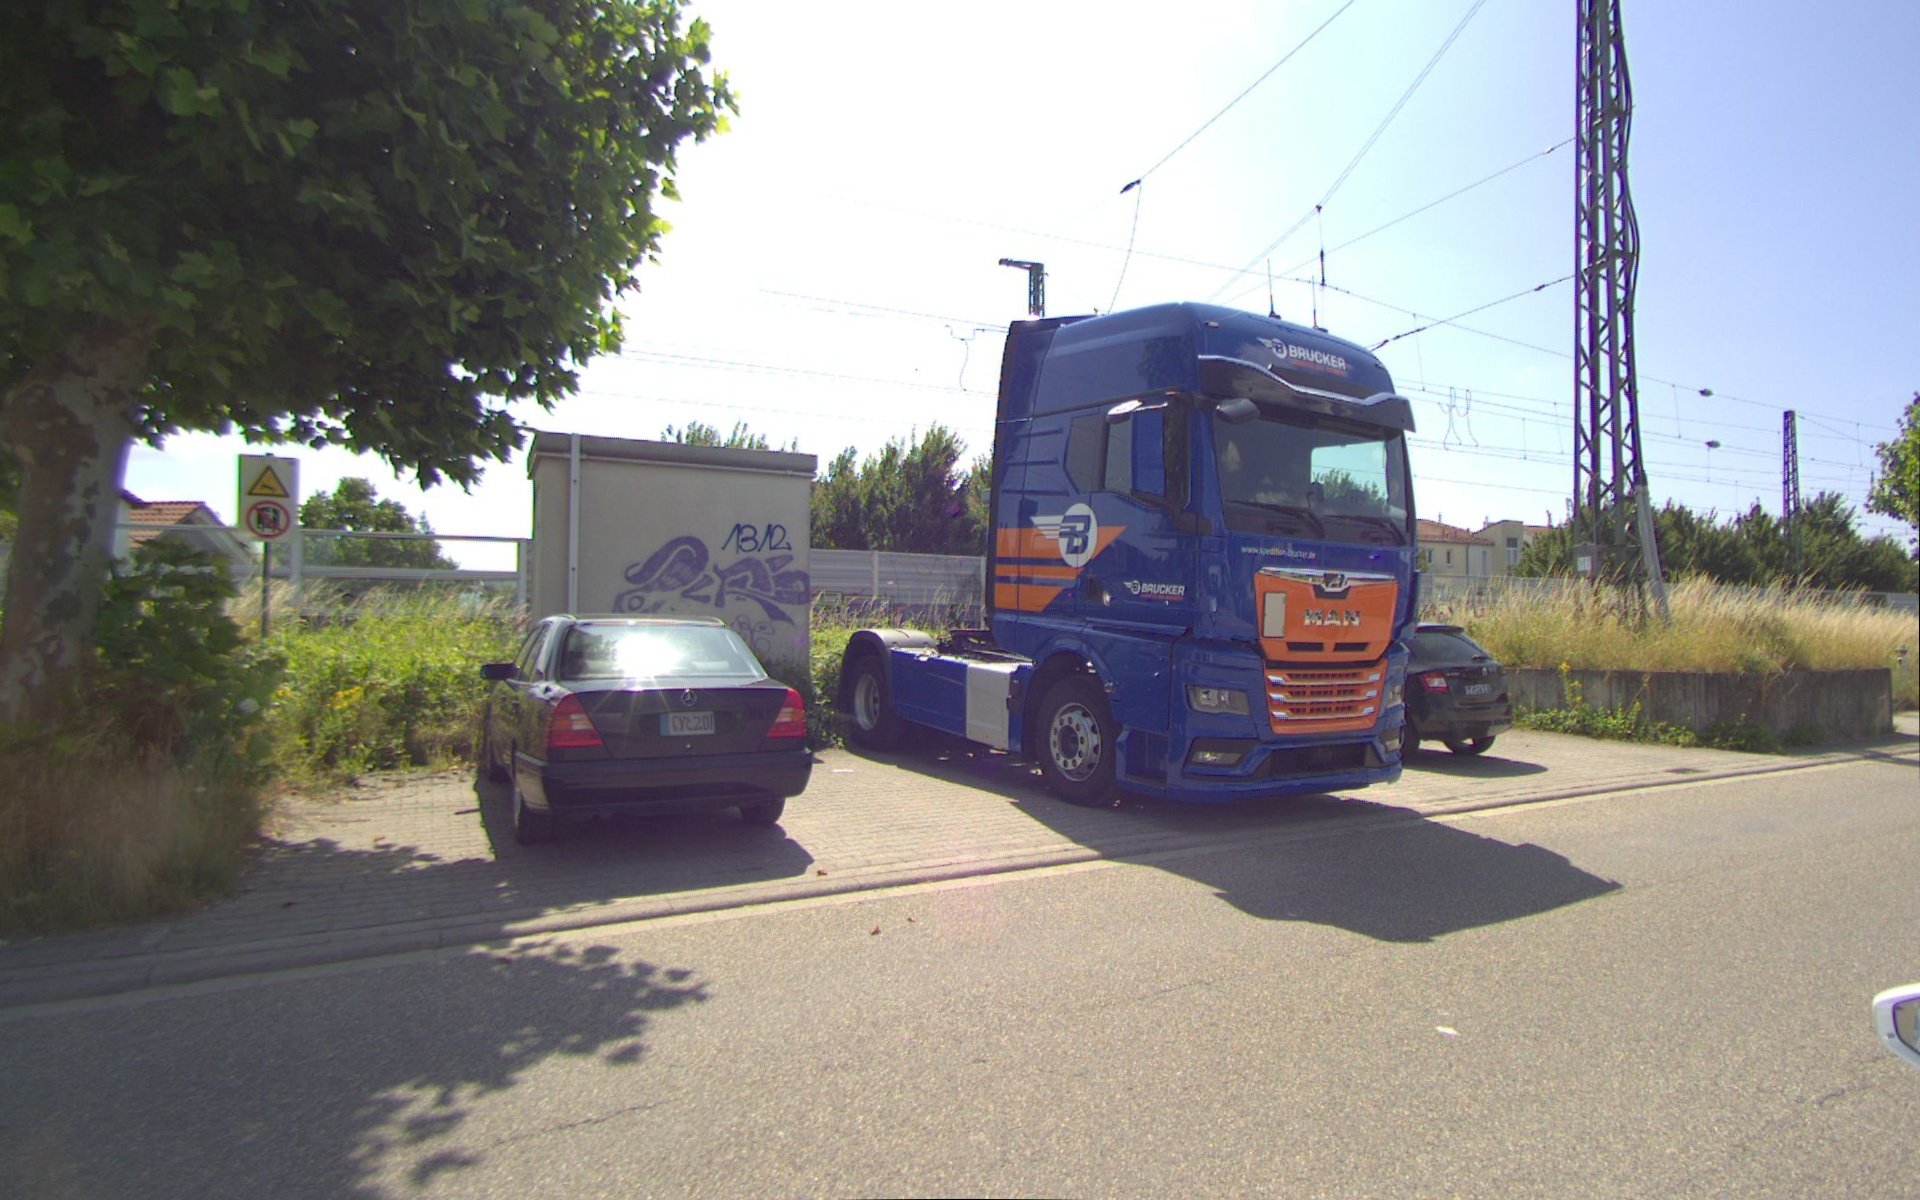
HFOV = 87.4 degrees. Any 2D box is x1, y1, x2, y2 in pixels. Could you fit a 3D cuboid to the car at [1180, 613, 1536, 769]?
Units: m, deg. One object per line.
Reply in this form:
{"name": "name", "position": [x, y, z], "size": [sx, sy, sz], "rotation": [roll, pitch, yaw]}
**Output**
{"name": "car", "position": [4.493, 0.999, 11.803], "size": [1.682, 1.519, 3.623], "rotation": [4, -4, -32]}

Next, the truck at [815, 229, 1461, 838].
{"name": "truck", "position": [1.060, -0.303, 9.897], "size": [2.633, 3.873, 6.582], "rotation": [2, -2, -30]}

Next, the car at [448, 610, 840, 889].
{"name": "car", "position": [-2.579, 0.804, 7.391], "size": [1.850, 1.413, 4.188], "rotation": [1, -1, -30]}
